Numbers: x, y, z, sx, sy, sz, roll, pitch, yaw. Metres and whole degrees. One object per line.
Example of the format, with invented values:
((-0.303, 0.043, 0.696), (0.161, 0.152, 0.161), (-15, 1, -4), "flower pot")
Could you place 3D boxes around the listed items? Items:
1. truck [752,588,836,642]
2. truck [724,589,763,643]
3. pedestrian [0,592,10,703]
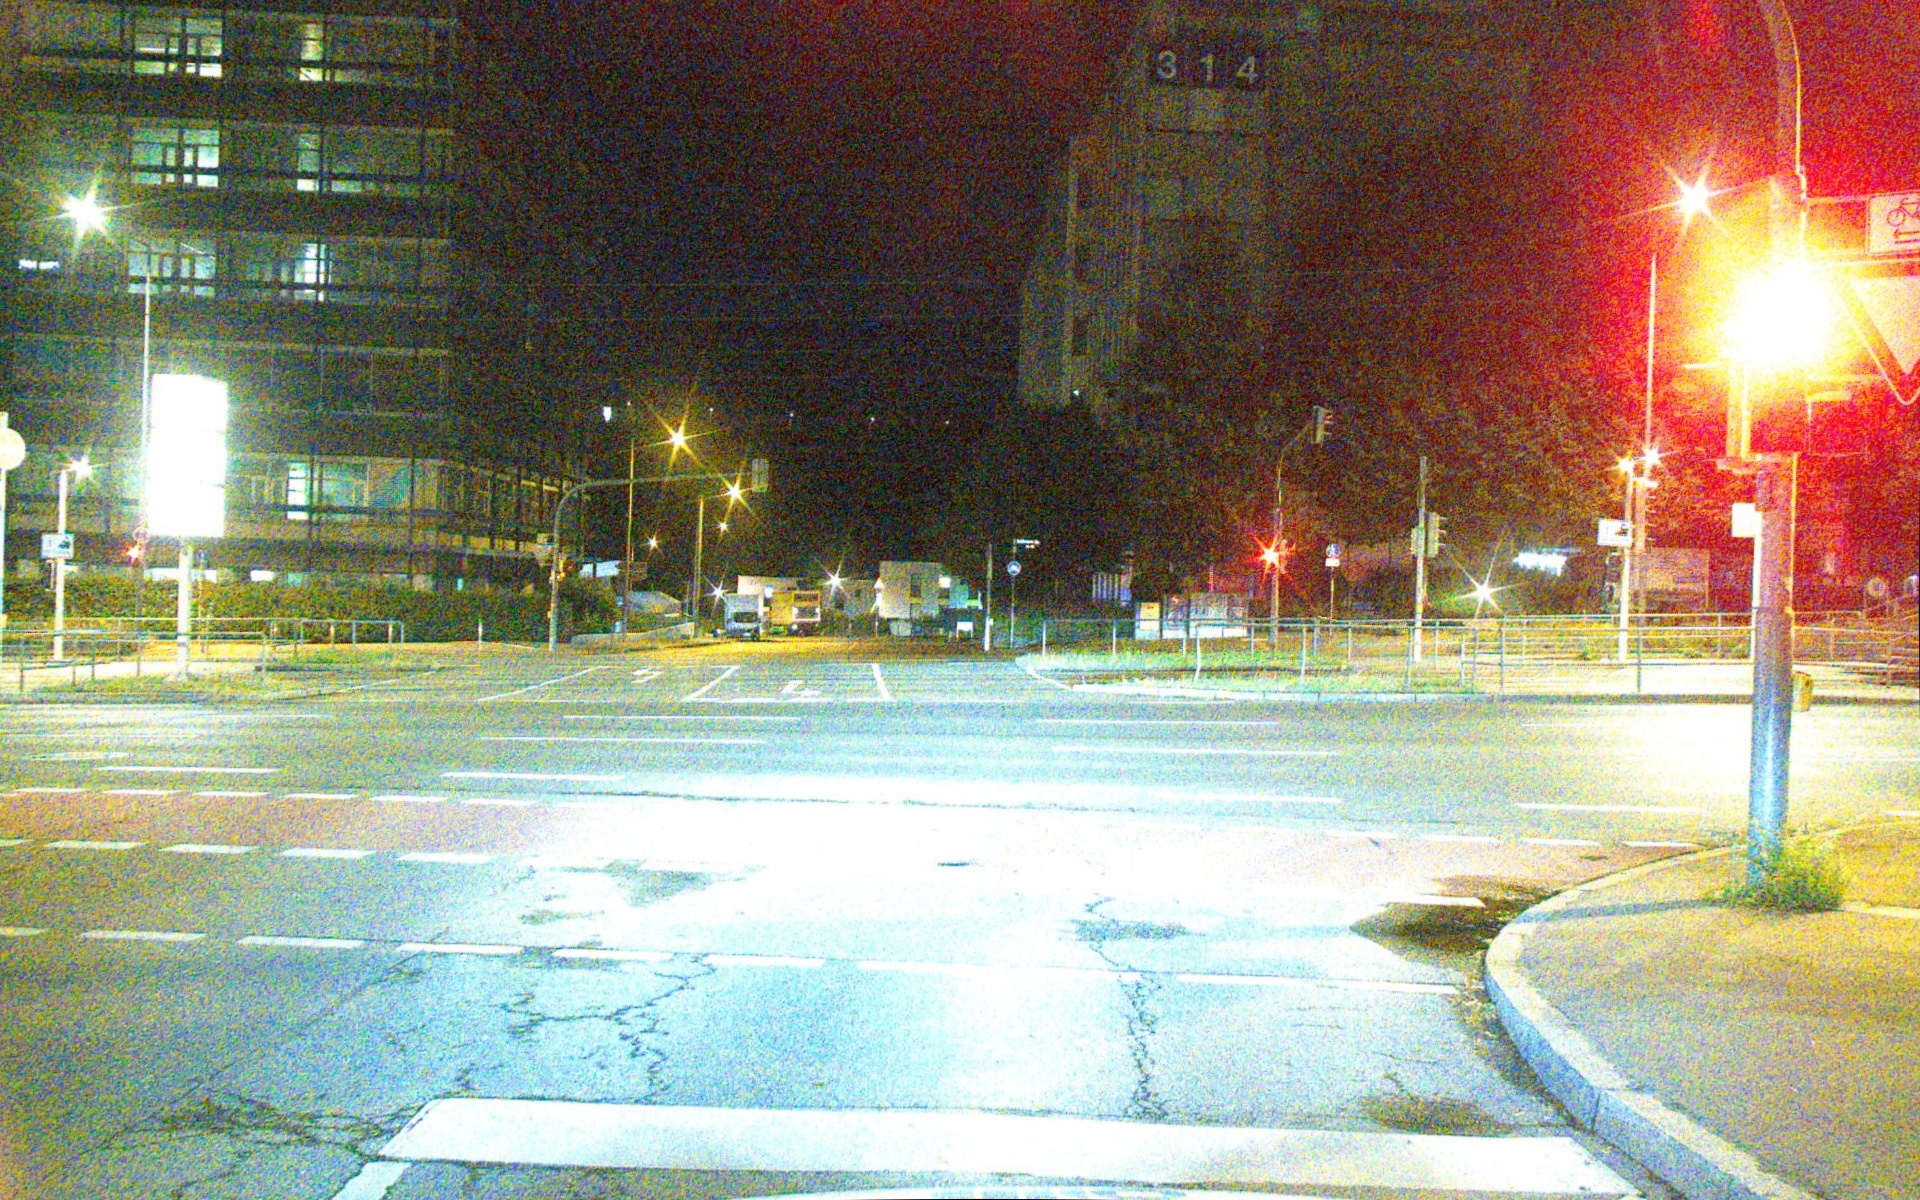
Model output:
((-15.292, 1.294, 150.976), (4.751, 4.627, 12.593), (1, 0, -19), "truck")
((-15.657, 1.132, 119.110), (2.535, 3.772, 5.724), (1, 0, -9), "truck")
((-14.745, 0.711, 24.680), (0.656, 1.663, 0.862), (1, -1, -5), "pedestrian")
